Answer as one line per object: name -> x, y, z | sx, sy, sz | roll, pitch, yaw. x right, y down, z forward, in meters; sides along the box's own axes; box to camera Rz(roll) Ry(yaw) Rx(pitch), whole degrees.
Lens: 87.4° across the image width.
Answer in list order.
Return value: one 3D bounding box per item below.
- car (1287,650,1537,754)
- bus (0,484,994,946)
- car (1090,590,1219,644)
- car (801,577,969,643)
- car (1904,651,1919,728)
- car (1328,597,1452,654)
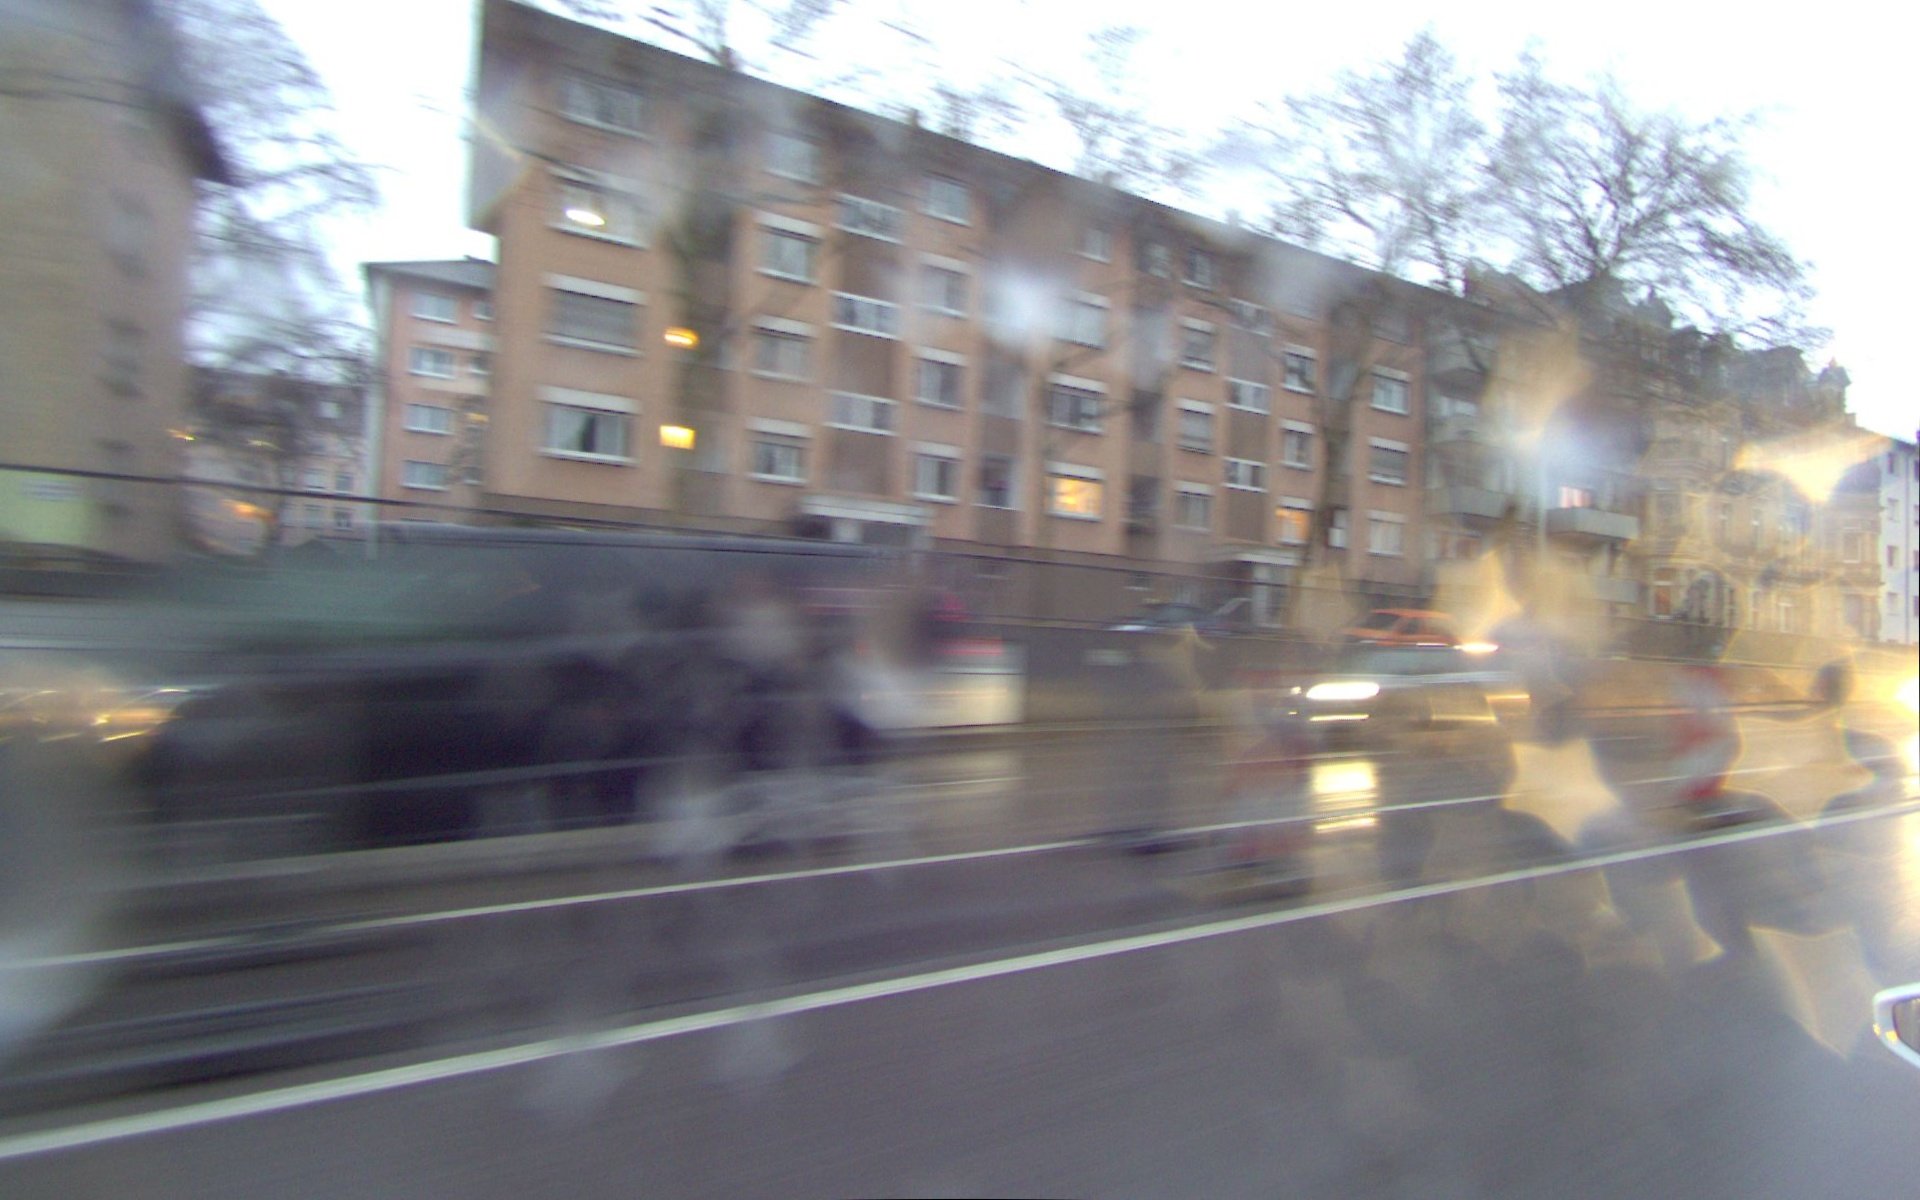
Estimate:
car -> 7.116, 1.508, 15.764 | 3.728, 1.401, 1.667 | 1, -2, -29
bus -> -2.402, 0.598, 6.261 | 5.111, 1.991, 1.667 | 2, -4, -29
car -> 5.195, 0.491, 26.804 | 3.223, 1.289, 1.434 | 3, -4, -29
car -> -1.686, 0.278, 22.962 | 3.545, 1.289, 1.434 | 3, -4, -29
car -> 19.578, 1.645, 18.885 | 3.649, 1.401, 1.602 | 1, -2, -29
car -> 13.474, 0.843, 31.460 | 3.890, 1.585, 1.558 | 3, -4, -29
